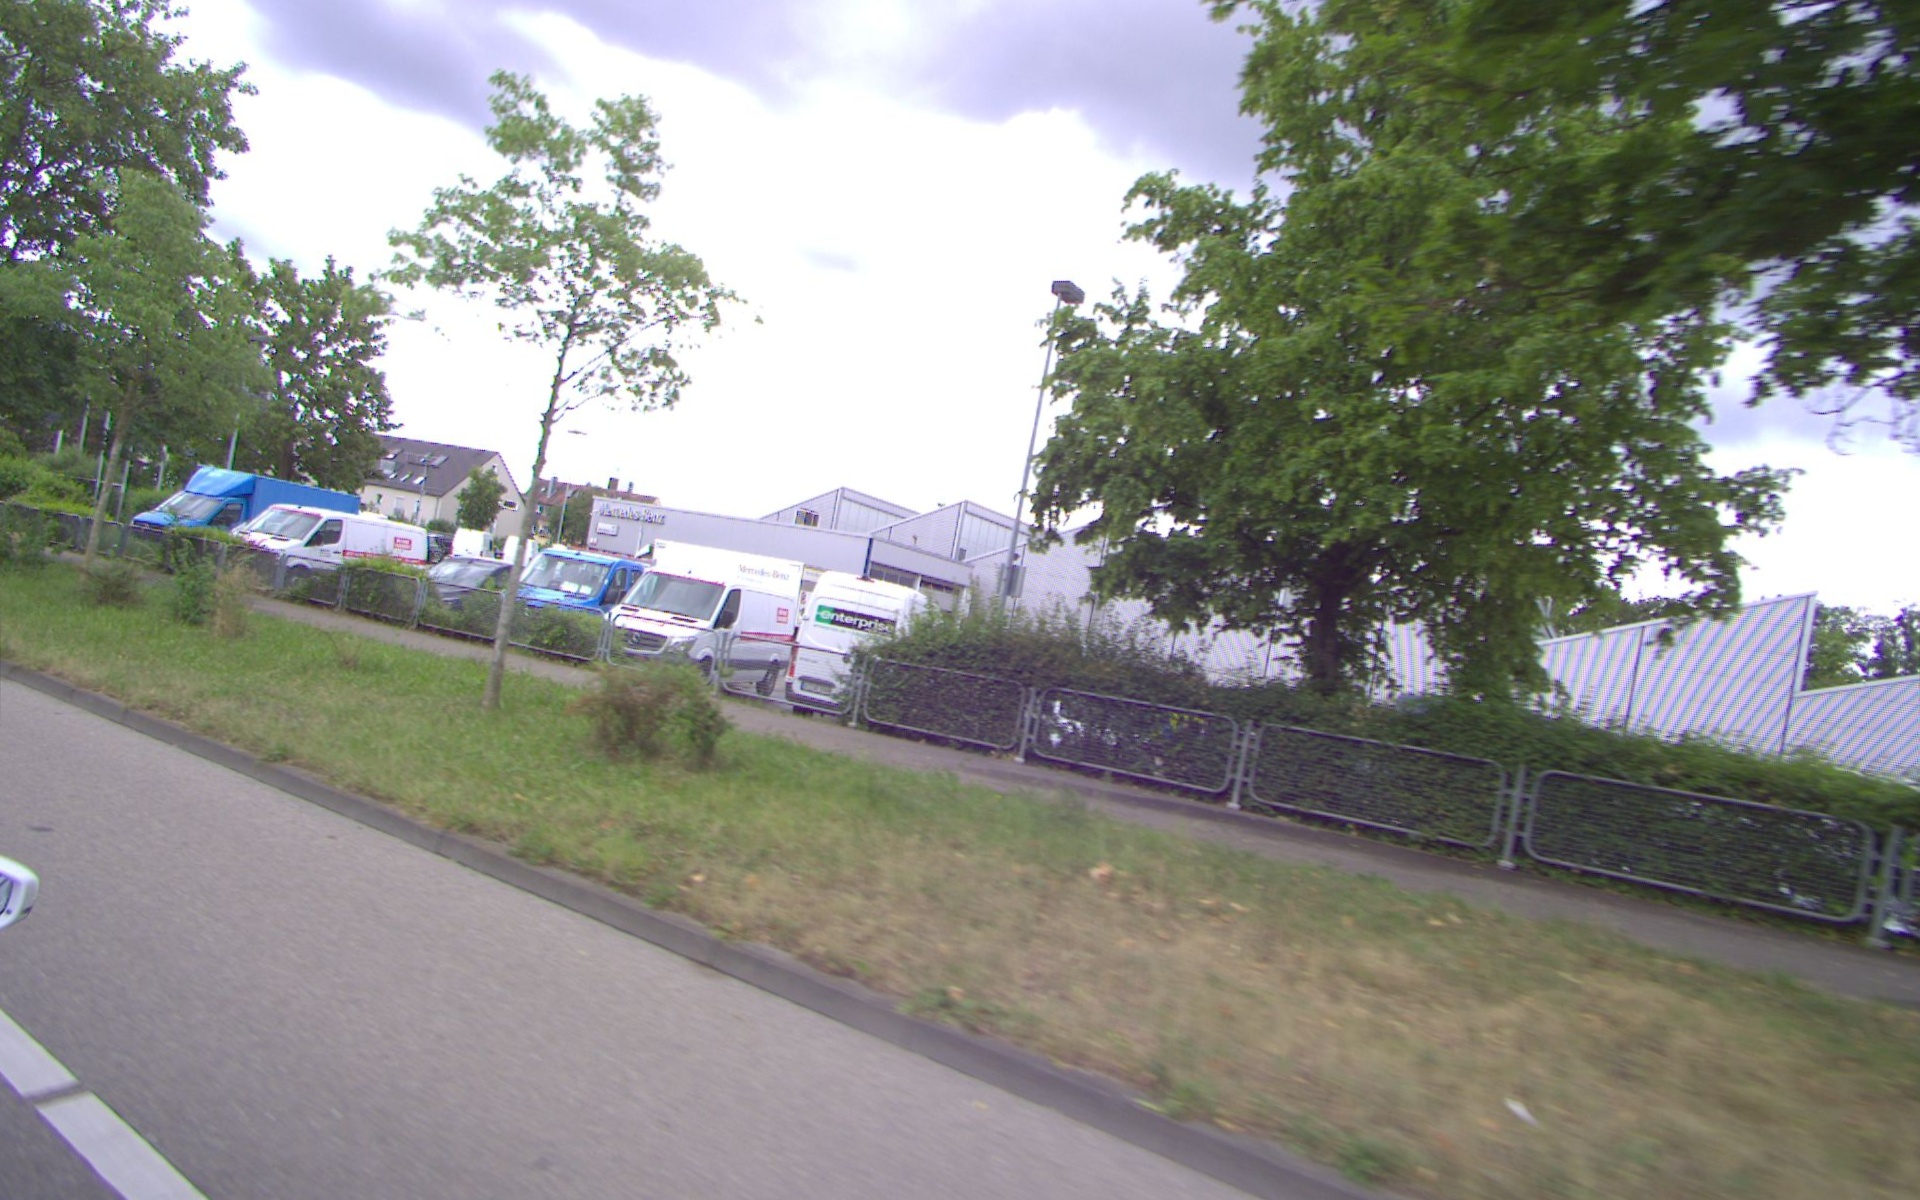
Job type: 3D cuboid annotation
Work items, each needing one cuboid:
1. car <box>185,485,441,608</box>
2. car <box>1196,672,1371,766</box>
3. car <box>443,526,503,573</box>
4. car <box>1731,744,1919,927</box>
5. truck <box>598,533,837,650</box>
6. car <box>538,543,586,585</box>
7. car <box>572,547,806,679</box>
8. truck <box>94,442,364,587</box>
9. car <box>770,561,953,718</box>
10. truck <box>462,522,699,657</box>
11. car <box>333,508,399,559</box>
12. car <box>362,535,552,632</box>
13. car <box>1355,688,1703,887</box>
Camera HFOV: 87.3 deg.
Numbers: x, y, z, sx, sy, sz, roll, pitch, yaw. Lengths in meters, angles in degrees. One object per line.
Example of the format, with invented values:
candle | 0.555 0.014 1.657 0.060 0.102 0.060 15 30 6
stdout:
car | -17.546 -1.311 27.855 2.317 2.393 6.041 8 -3 8
car | 8.364 3.062 26.348 3.924 1.772 1.807 8 -2 9
car | -33.387 -3.434 69.150 2.228 2.709 5.432 9 0 -14
car | 13.411 3.348 13.496 2.037 2.057 4.574 9 -3 -8
truck | -10.195 -0.357 42.220 9.364 3.497 2.866 8 -2 20
car | -29.830 -2.722 75.537 2.228 2.709 5.432 9 0 -14
car | -5.083 0.426 20.078 2.032 1.978 5.837 8 -3 10
truck | -23.511 -2.552 32.984 2.569 3.517 7.195 8 -1 7
car | -1.593 0.800 18.614 2.032 2.212 5.270 8 -3 7
truck | -7.989 -0.030 22.134 2.205 2.236 6.263 8 -3 4
car | -38.007 -4.228 64.526 2.232 2.709 5.424 9 0 -19
car | -11.407 -0.288 23.164 1.963 1.647 4.006 8 -3 4
car | 8.277 2.642 15.276 2.037 2.057 4.574 9 -3 -8
